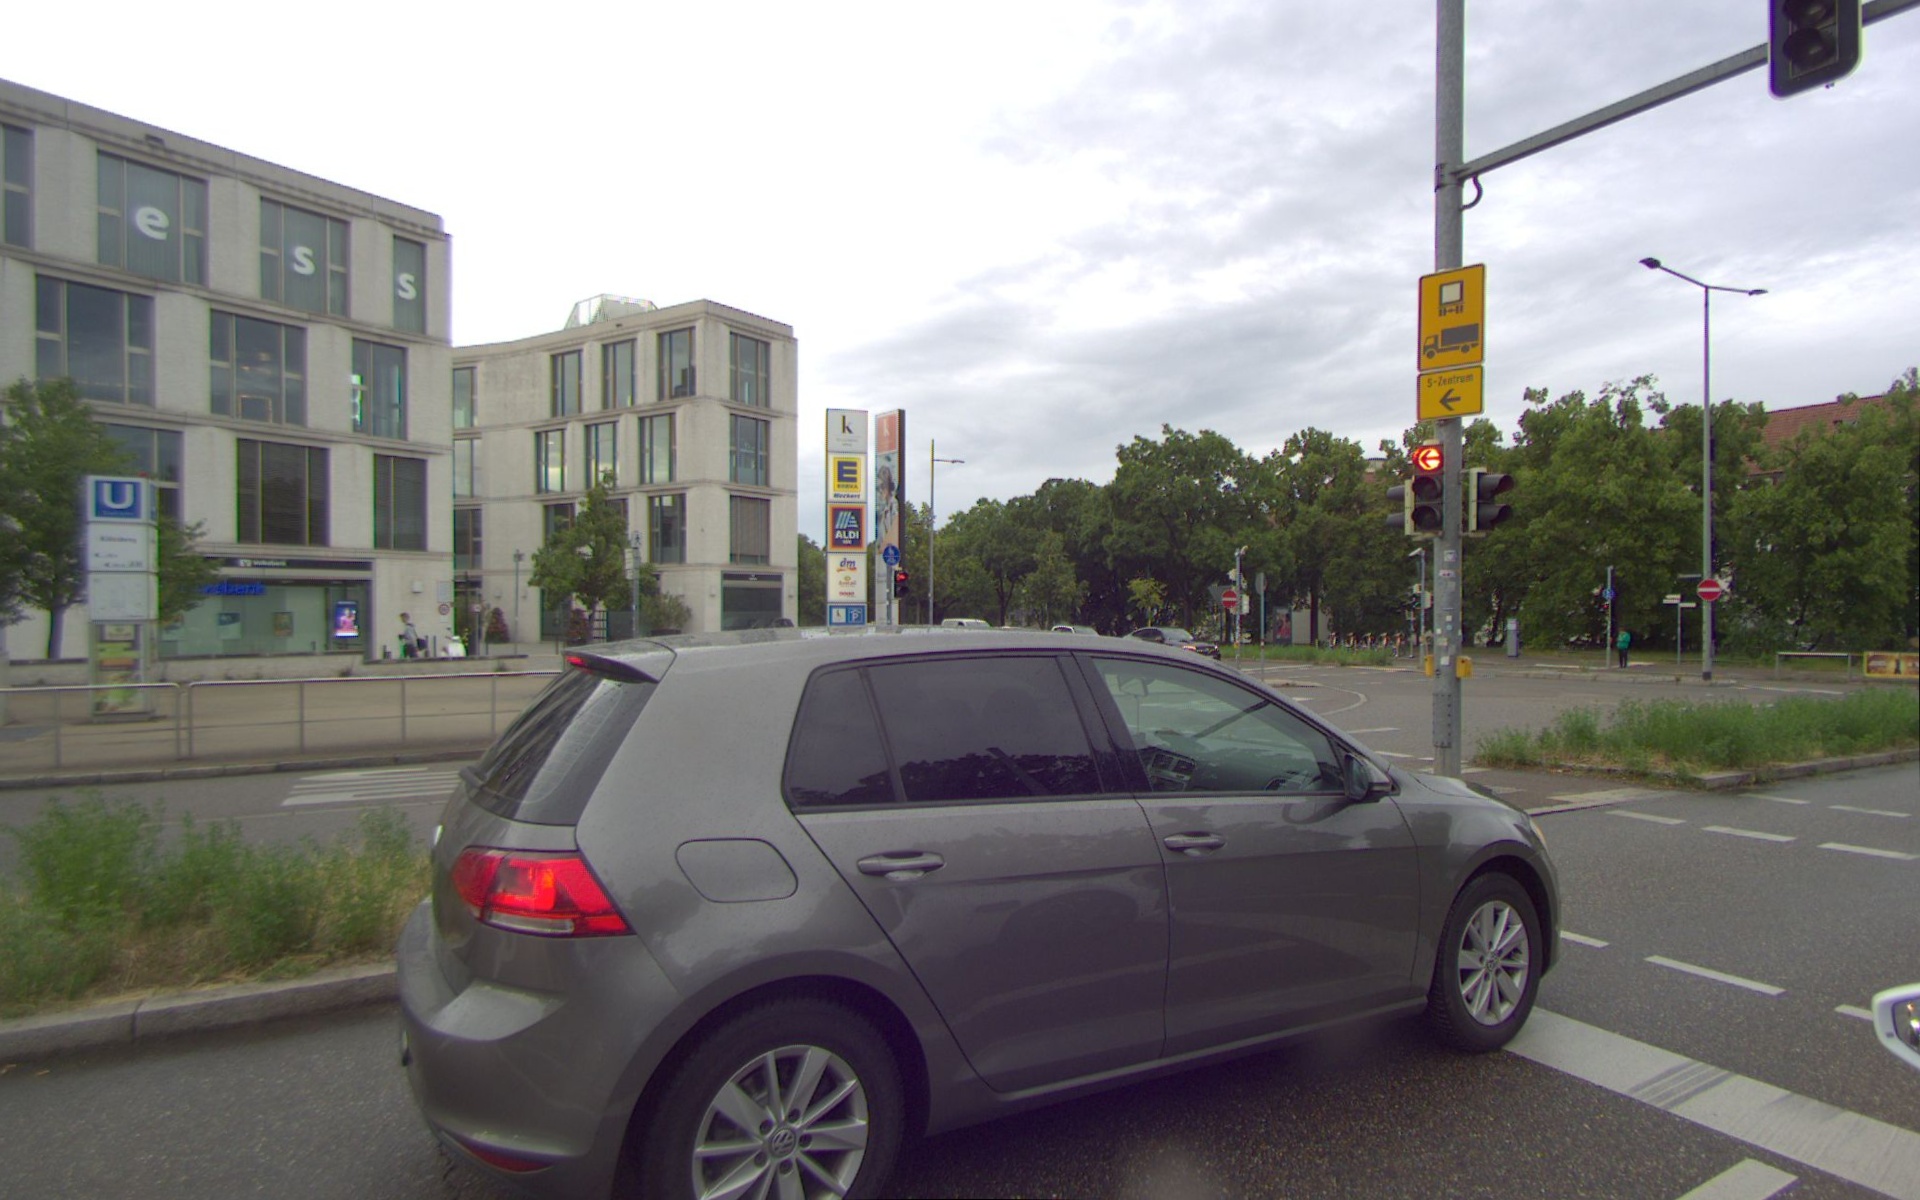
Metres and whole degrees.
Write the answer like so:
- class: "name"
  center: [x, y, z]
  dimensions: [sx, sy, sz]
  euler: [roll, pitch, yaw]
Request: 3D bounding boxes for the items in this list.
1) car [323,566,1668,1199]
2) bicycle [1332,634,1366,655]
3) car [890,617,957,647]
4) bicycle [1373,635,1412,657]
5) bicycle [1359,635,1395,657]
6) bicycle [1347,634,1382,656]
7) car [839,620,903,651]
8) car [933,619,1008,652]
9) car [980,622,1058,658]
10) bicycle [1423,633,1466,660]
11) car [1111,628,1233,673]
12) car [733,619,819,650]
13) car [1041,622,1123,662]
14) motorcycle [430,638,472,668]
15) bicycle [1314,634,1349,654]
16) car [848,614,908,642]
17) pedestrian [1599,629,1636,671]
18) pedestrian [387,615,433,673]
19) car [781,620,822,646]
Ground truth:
- class: "car"
  center: [0.382, 0.756, 3.560]
  dimensions: [4.323, 1.501, 1.808]
  euler: [2, -1, -29]
- class: "bicycle"
  center: [20.937, 2.387, 54.034]
  dimensions: [1.959, 1.085, 0.649]
  euler: [2, 0, -30]
- class: "car"
  center: [-2.258, 1.882, 60.393]
  dimensions: [1.976, 1.615, 4.855]
  euler: [2, 0, -29]
- class: "bicycle"
  center: [22.241, 2.360, 51.649]
  dimensions: [1.959, 1.085, 0.798]
  euler: [2, 0, -30]
- class: "bicycle"
  center: [21.671, 2.394, 52.173]
  dimensions: [1.959, 1.085, 0.649]
  euler: [2, 0, -30]
- class: "bicycle"
  center: [21.370, 2.377, 53.033]
  dimensions: [1.959, 1.085, 0.649]
  euler: [2, 0, -30]
- class: "car"
  center: [-5.330, 2.108, 59.698]
  dimensions: [1.976, 1.615, 4.855]
  euler: [2, 0, -29]
- class: "car"
  center: [0.530, 1.942, 55.405]
  dimensions: [1.976, 1.615, 4.855]
  euler: [2, 0, -29]
- class: "car"
  center: [2.921, 1.992, 50.945]
  dimensions: [1.976, 1.615, 4.185]
  euler: [2, 0, -29]
- class: "bicycle"
  center: [23.758, 2.266, 49.261]
  dimensions: [1.959, 1.266, 0.986]
  euler: [2, 0, -30]
- class: "car"
  center: [8.393, 1.964, 40.240]
  dimensions: [1.976, 1.520, 5.001]
  euler: [2, 0, -29]
- class: "car"
  center: [-9.188, 1.713, 50.318]
  dimensions: [1.968, 1.483, 3.985]
  euler: [0, -2, 37]
- class: "car"
  center: [5.555, 1.907, 46.026]
  dimensions: [1.976, 1.615, 3.536]
  euler: [2, 0, -30]
- class: "motorcycle"
  center: [-14.177, 1.466, 27.978]
  dimensions: [1.081, 0.750, 0.522]
  euler: [2, 0, 29]
- class: "bicycle"
  center: [20.266, 2.401, 54.763]
  dimensions: [1.959, 1.085, 0.649]
  euler: [2, 0, -30]
- class: "car"
  center: [-5.460, 1.812, 66.112]
  dimensions: [1.977, 1.615, 4.852]
  euler: [2, 0, -31]
- class: "pedestrian"
  center: [27.926, 2.123, 42.659]
  dimensions: [0.933, 1.750, 0.919]
  euler: [2, 0, -26]
- class: "pedestrian"
  center: [-15.773, 1.264, 28.818]
  dimensions: [0.752, 1.626, 0.911]
  euler: [0, -1, 37]
- class: "car"
  center: [-12.755, 2.659, 80.695]
  dimensions: [1.976, 2.040, 3.969]
  euler: [1, -1, -29]
